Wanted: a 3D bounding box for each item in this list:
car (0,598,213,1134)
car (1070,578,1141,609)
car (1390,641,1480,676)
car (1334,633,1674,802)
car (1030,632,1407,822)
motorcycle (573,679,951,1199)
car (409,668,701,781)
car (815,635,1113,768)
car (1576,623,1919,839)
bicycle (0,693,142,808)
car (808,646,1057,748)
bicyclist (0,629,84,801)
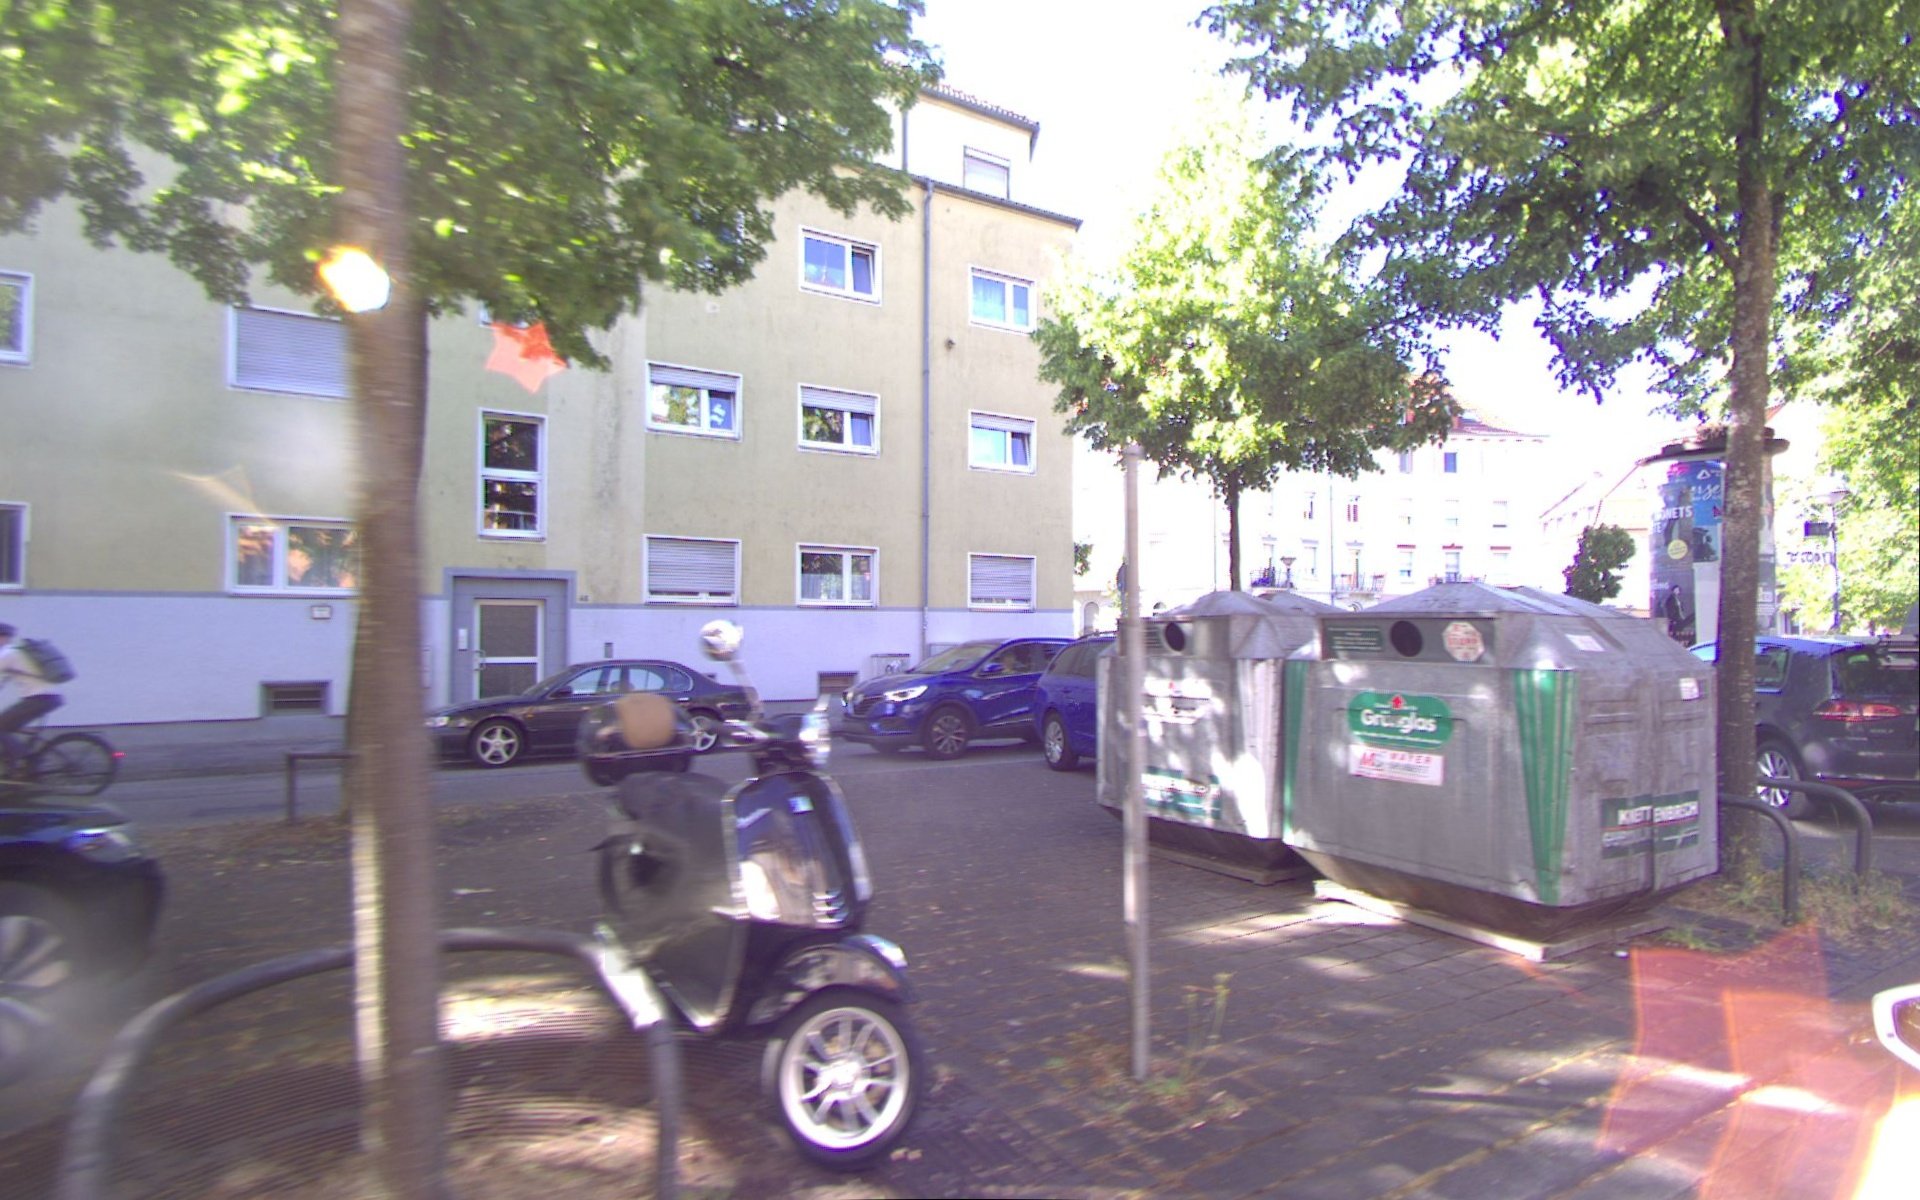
[{"bbox_3d":[-3.957,0.731,1.723,1.796,1.574,4.157,0,-2,10],"label":"car"},{"bbox_3d":[7.526,-0.325,52.051,3.340,1.485,1.487,-1,-2,25],"label":"car"},{"bbox_3d":[23.163,2.815,48.933,4.077,1.628,1.985,1,-3,-30],"label":"car"},{"bbox_3d":[5.369,1.078,10.579,1.751,1.421,4.003,0,-2,6],"label":"car"},{"bbox_3d":[2.295,1.075,9.940,1.622,1.485,3.779,1,-2,-24],"label":"car"},{"bbox_3d":[-0.775,0.886,3.318,0.513,1.186,1.927,1,-3,-34],"label":"motorcycle"},{"bbox_3d":[-5.633,1.654,14.068,3.600,1.338,1.578,1,-4,-32],"label":"car"},{"bbox_3d":[0.134,1.316,14.067,3.964,1.601,1.735,1,-4,-38],"label":"car"},{"bbox_3d":[7.408,1.000,9.018,1.740,1.501,4.145,1,-2,9],"label":"car"},{"bbox_3d":[-9.340,1.481,9.910,1.895,1.048,0.596,1,-3,-35],"label":"bicycle"},{"bbox_3d":[-0.409,1.576,17.289,4.121,1.546,1.520,1,-3,-33],"label":"car"},{"bbox_3d":[-9.333,1.108,9.893,0.918,1.643,0.711,1,-2,-33],"label":"bicyclist"}]
